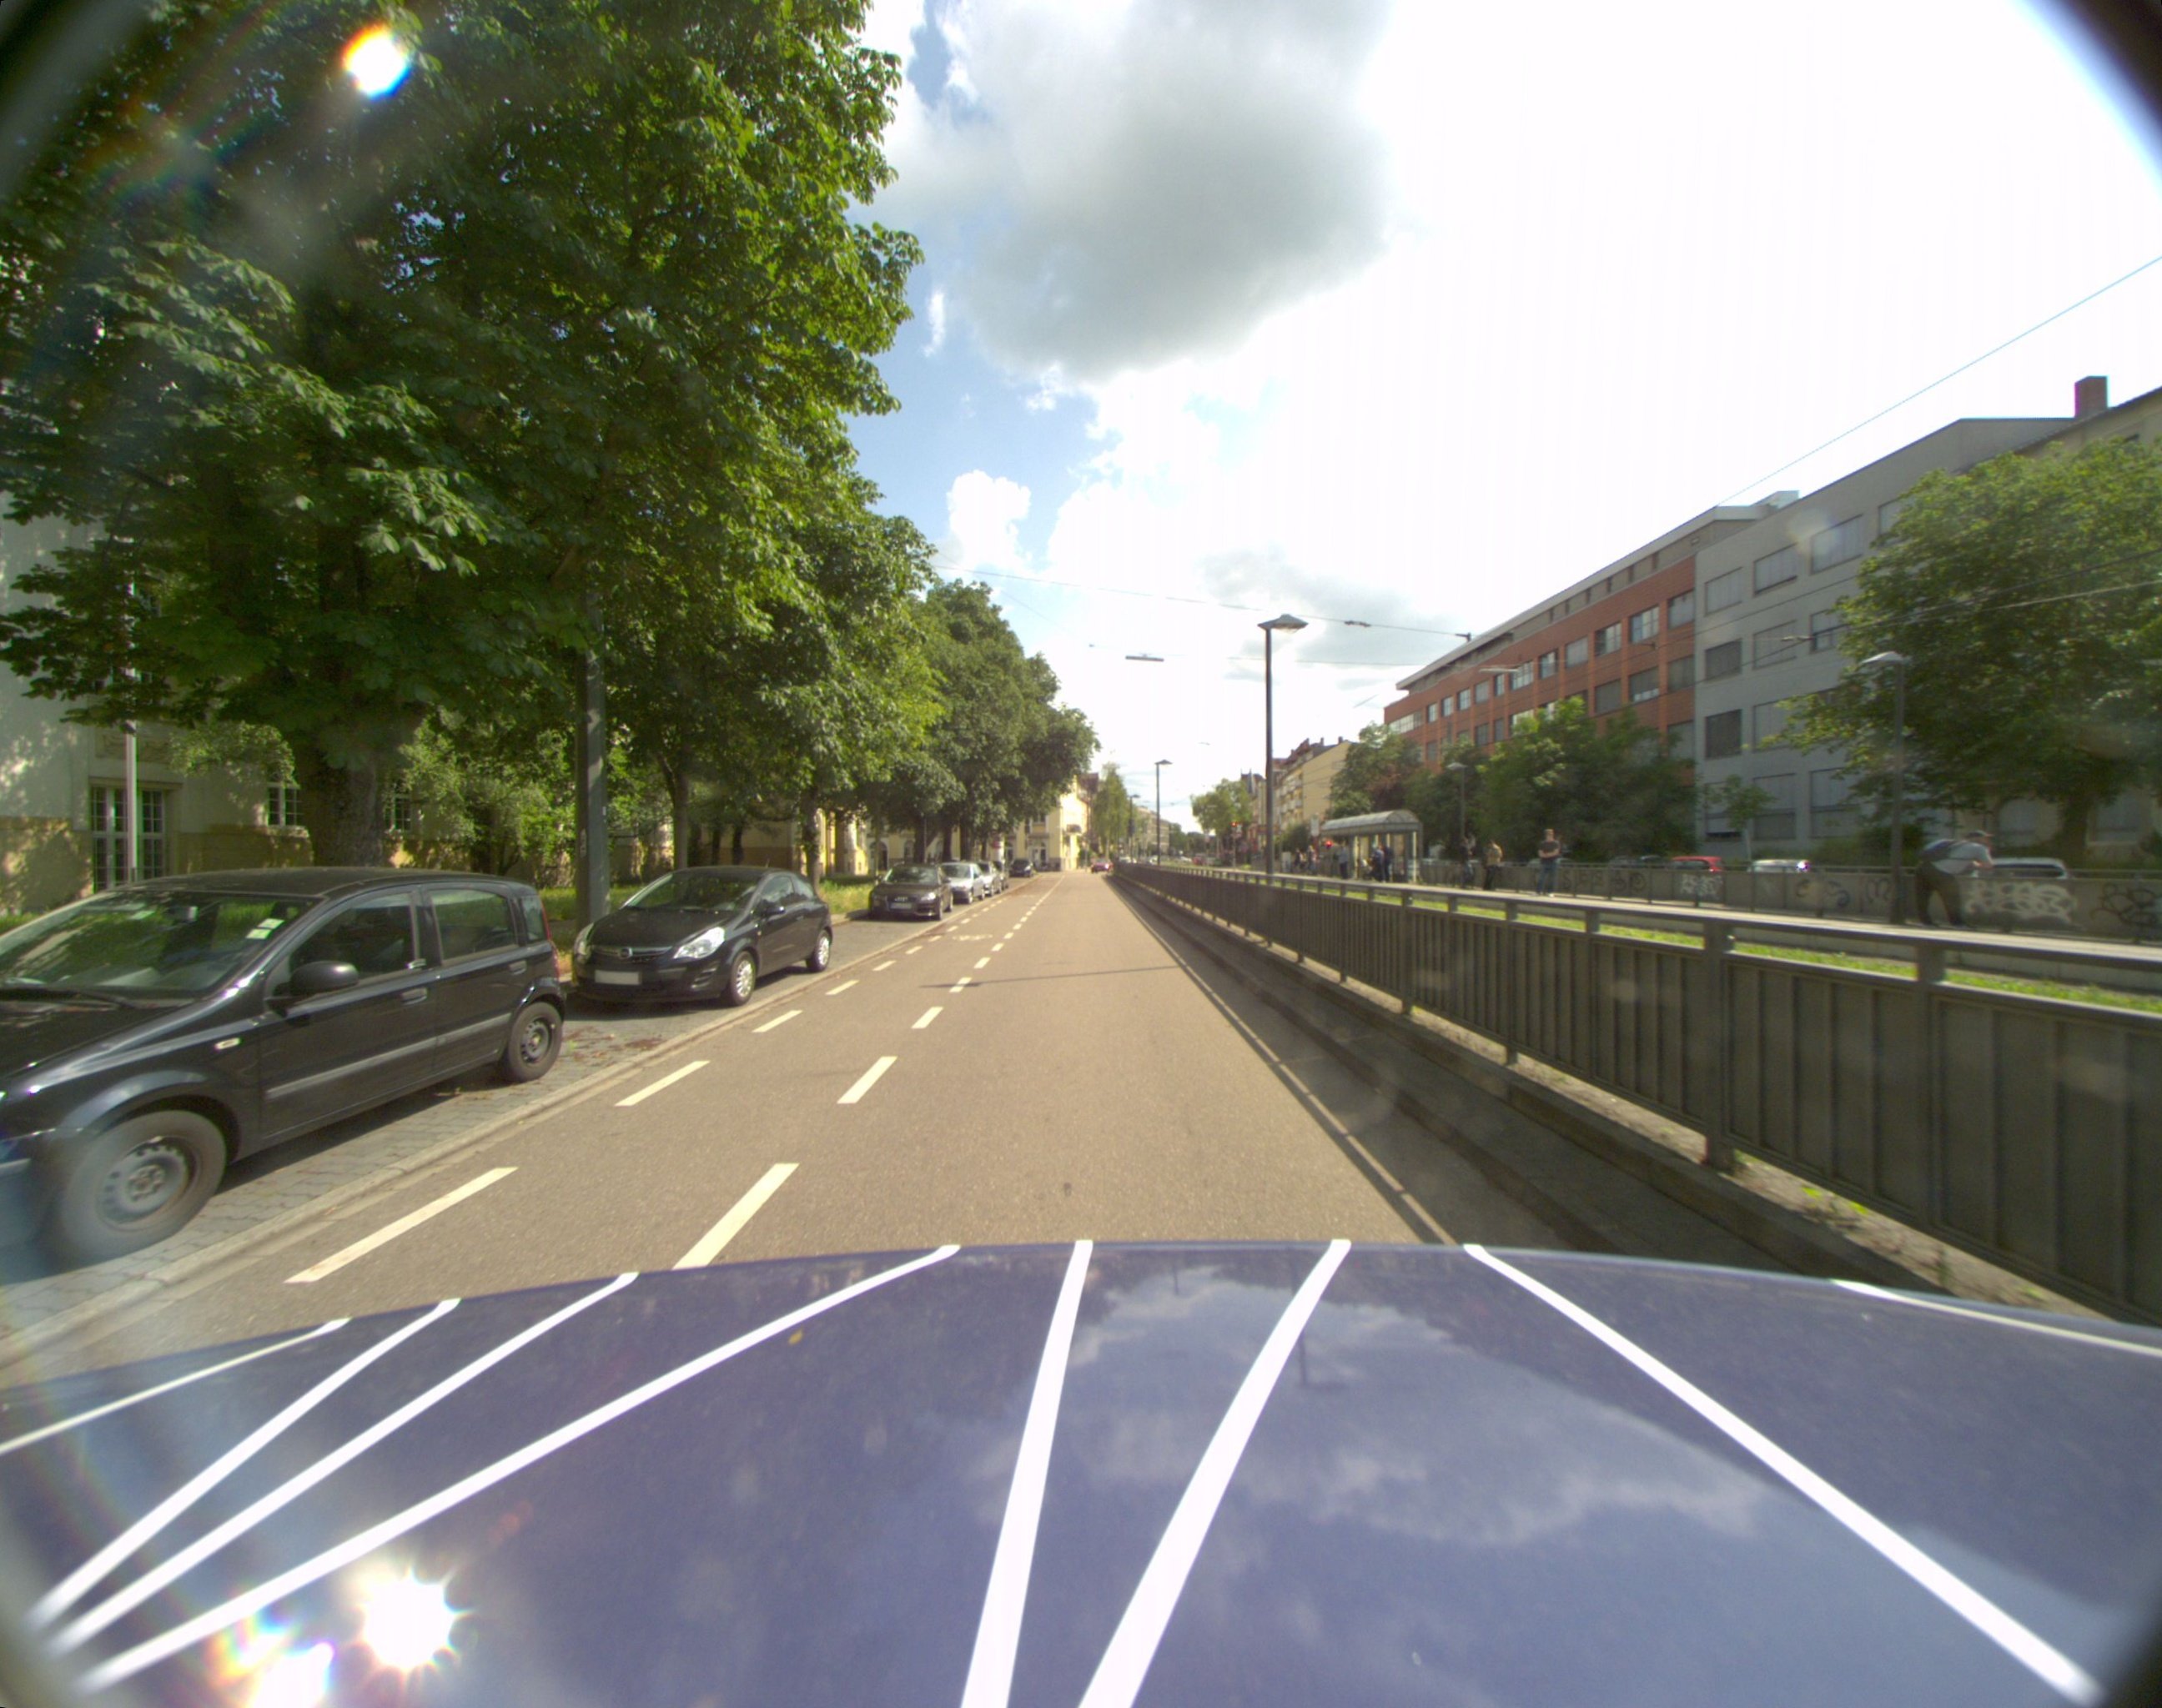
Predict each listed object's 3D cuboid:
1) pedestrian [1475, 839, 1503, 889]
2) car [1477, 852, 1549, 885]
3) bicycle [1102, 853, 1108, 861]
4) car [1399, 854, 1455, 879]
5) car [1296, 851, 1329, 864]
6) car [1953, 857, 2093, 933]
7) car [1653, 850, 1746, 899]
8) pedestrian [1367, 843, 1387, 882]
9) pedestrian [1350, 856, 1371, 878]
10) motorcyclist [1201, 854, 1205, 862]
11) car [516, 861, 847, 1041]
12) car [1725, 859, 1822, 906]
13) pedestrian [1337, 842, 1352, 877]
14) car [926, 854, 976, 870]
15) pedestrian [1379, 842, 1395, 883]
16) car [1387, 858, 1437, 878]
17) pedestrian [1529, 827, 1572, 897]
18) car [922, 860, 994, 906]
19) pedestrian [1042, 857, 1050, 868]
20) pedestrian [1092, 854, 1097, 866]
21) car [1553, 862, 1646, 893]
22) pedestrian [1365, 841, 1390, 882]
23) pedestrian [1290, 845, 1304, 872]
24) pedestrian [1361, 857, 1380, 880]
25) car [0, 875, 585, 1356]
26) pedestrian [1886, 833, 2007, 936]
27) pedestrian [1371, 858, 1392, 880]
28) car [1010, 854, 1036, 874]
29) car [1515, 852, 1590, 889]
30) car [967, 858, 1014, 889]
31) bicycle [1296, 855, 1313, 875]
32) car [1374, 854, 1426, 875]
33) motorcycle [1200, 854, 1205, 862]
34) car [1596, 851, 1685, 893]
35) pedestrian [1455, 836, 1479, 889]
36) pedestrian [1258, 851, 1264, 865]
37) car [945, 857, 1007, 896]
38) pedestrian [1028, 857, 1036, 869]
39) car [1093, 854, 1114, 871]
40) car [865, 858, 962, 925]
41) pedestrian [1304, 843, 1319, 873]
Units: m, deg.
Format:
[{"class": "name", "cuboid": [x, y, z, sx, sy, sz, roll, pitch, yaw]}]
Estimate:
[{"class": "pedestrian", "cuboid": [13.724, 0.318, 25.571, 0.608, 1.665, 0.625, 0, 1, 0]}, {"class": "car", "cuboid": [22.467, 0.729, 39.489, 4.007, 1.520, 1.668, -3, 0, -36]}, {"class": "bicycle", "cuboid": [3.655, 0.439, 115.929, 0.772, 1.097, 2.572, 0, -3, -2]}, {"class": "car", "cuboid": [22.077, 0.799, 48.431, 3.317, 1.412, 1.581, -3, 1, -30]}, {"class": "car", "cuboid": [28.032, 0.476, 91.977, 3.608, 1.470, 1.777, 0, -3, 7]}, {"class": "car", "cuboid": [22.461, 0.885, 18.238, 4.161, 1.556, 1.921, 0, 1, -40]}, {"class": "car", "cuboid": [22.748, 0.697, 27.907, 4.144, 1.630, 1.829, -1, 1, -39]}, {"class": "pedestrian", "cuboid": [12.364, 0.361, 31.743, 0.599, 1.623, 0.558, 0, 0, -14]}, {"class": "pedestrian", "cuboid": [13.242, 0.620, 35.952, 0.721, 1.025, 0.623, 1, 1, -3]}, {"class": "motorcyclist", "cuboid": [21.519, 0.743, 134.077, 0.663, 1.350, 0.693, -2, 1, 3]}, {"class": "car", "cuboid": [-4.390, 0.932, 9.245, 1.695, 1.552, 4.307, 3, 0, 0]}, {"class": "car", "cuboid": [22.544, 0.879, 24.684, 4.031, 1.383, 1.811, 0, -1, -40]}, {"class": "pedestrian", "cuboid": [12.996, 0.270, 37.455, 0.487, 1.716, 0.623, -1, 1, -2]}, {"class": "car", "cuboid": [-13.822, 0.849, 80.966, 4.828, 1.646, 1.858, -1, 2, 10]}, {"class": "pedestrian", "cuboid": [13.413, 0.370, 33.314, 0.444, 1.816, 0.623, 0, 1, -2]}, {"class": "car", "cuboid": [22.438, 0.926, 51.507, 3.258, 1.296, 1.599, 0, 0, -35]}, {"class": "pedestrian", "cuboid": [12.922, 0.209, 20.937, 0.752, 1.881, 0.638, -1, 3, 2]}, {"class": "car", "cuboid": [-4.241, 0.971, 26.787, 1.639, 1.423, 4.015, 2, 0, 3]}, {"class": "pedestrian", "cuboid": [-3.788, 0.916, 82.923, 0.804, 1.238, 0.892, 0, 2, 3]}, {"class": "pedestrian", "cuboid": [1.785, 0.765, 101.460, 0.593, 1.622, 0.538, 2, 1, 2]}, {"class": "car", "cuboid": [23.151, 1.011, 33.904, 4.005, 1.143, 1.789, -3, 0, -29]}, {"class": "pedestrian", "cuboid": [12.584, 0.303, 32.249, 0.634, 1.733, 1.036, 0, 1, -2]}, {"class": "pedestrian", "cuboid": [13.977, 0.283, 49.127, 0.667, 1.689, 0.798, 0, 1, -3]}, {"class": "pedestrian", "cuboid": [13.669, 0.681, 35.894, 0.655, 1.026, 0.562, 1, 4, -3]}, {"class": "car", "cuboid": [-4.559, 0.954, 4.050, 1.560, 1.452, 3.557, 3, 1, -2]}, {"class": "pedestrian", "cuboid": [13.679, 0.462, 12.037, 0.991, 1.569, 0.798, 0, 1, -3]}, {"class": "pedestrian", "cuboid": [13.617, 0.667, 34.453, 0.706, 0.989, 0.562, 1, 1, -3]}, {"class": "car", "cuboid": [-4.508, 0.766, 59.240, 1.689, 1.379, 3.923, 1, 1, 0]}, {"class": "car", "cuboid": [22.685, 0.764, 36.514, 4.007, 1.520, 1.668, -3, 0, -36]}, {"class": "car", "cuboid": [-4.520, 0.946, 38.426, 1.834, 1.392, 4.656, 3, 0, -1]}, {"class": "bicycle", "cuboid": [13.025, 0.604, 44.293, 0.663, 1.107, 1.878, 1, 1, 9]}, {"class": "car", "cuboid": [23.139, 0.725, 55.104, 4.008, 1.487, 1.646, 0, 0, -37]}, {"class": "motorcycle", "cuboid": [21.480, 0.661, 133.972, 0.634, 1.395, 2.010, -2, 1, 3]}, {"class": "car", "cuboid": [22.718, 0.680, 30.802, 4.007, 1.559, 1.605, -1, 0, -33]}, {"class": "pedestrian", "cuboid": [12.988, 0.271, 25.564, 0.607, 1.744, 0.626, 1, 2, 41]}, {"class": "pedestrian", "cuboid": [23.042, 0.520, 97.135, 0.650, 1.700, 0.481, 0, 0, 1]}, {"class": "car", "cuboid": [-4.334, 0.888, 31.996, 1.833, 1.433, 5.049, 3, 0, 0]}, {"class": "pedestrian", "cuboid": [-5.318, 0.954, 82.474, 0.804, 1.281, 0.759, 0, 2, 3]}, {"class": "car", "cuboid": [2.125, 0.797, 72.869, 1.790, 1.499, 4.000, -2, 0, 0]}, {"class": "car", "cuboid": [-4.436, 0.936, 20.843, 1.836, 1.458, 4.828, 2, 1, -3]}, {"class": "pedestrian", "cuboid": [13.374, 0.226, 44.107, 0.640, 1.714, 0.798, 0, 1, -3]}]
